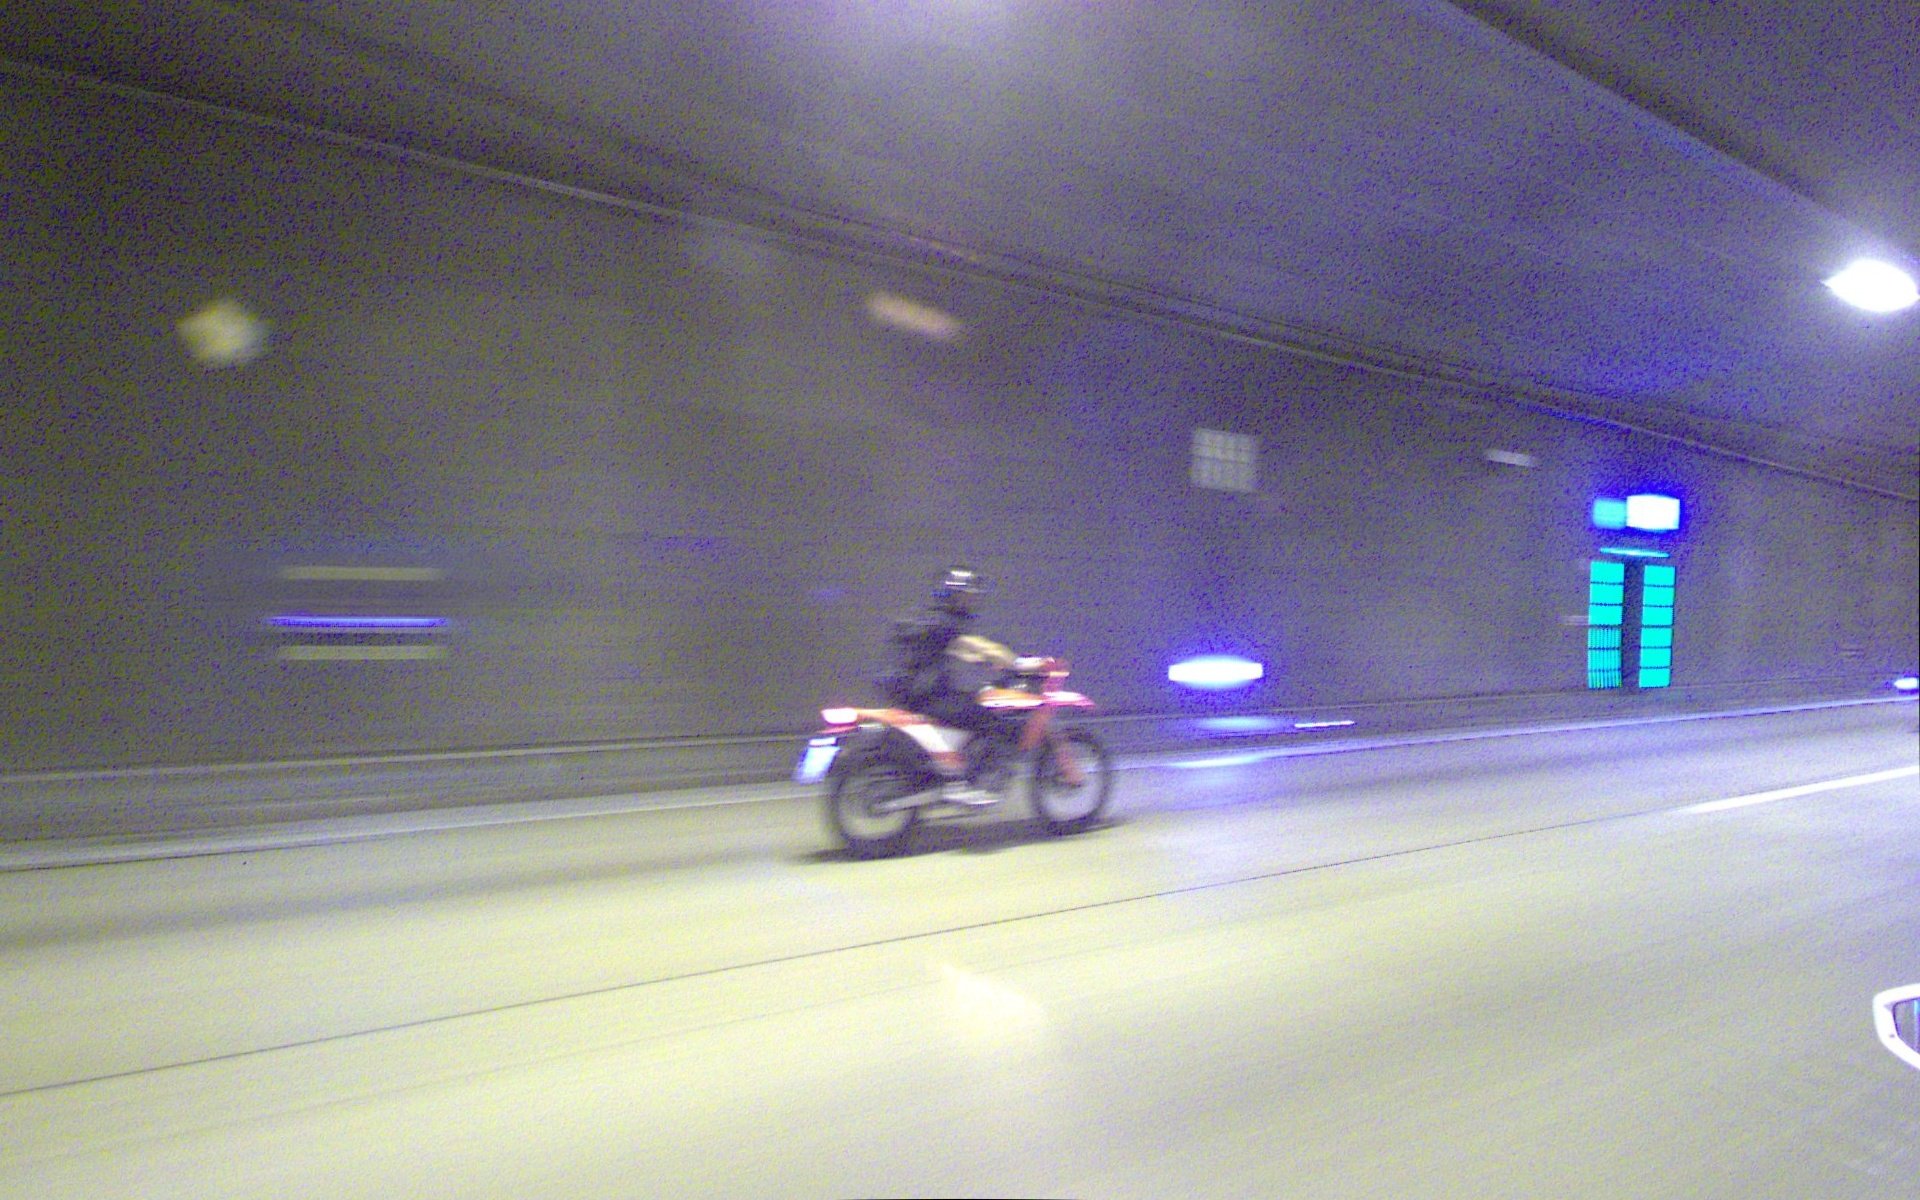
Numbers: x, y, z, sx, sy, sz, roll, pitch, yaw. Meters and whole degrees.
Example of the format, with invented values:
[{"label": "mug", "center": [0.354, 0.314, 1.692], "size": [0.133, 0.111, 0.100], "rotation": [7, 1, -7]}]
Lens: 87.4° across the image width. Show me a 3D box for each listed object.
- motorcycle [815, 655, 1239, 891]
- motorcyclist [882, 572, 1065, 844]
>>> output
[{"label": "motorcycle", "center": [0.415, 0.952, 6.195], "size": [2.393, 1.173, 1.050], "rotation": [1, 0, -24]}, {"label": "motorcyclist", "center": [0.070, 0.609, 6.065], "size": [0.878, 1.509, 0.625], "rotation": [1, 3, -23]}]
